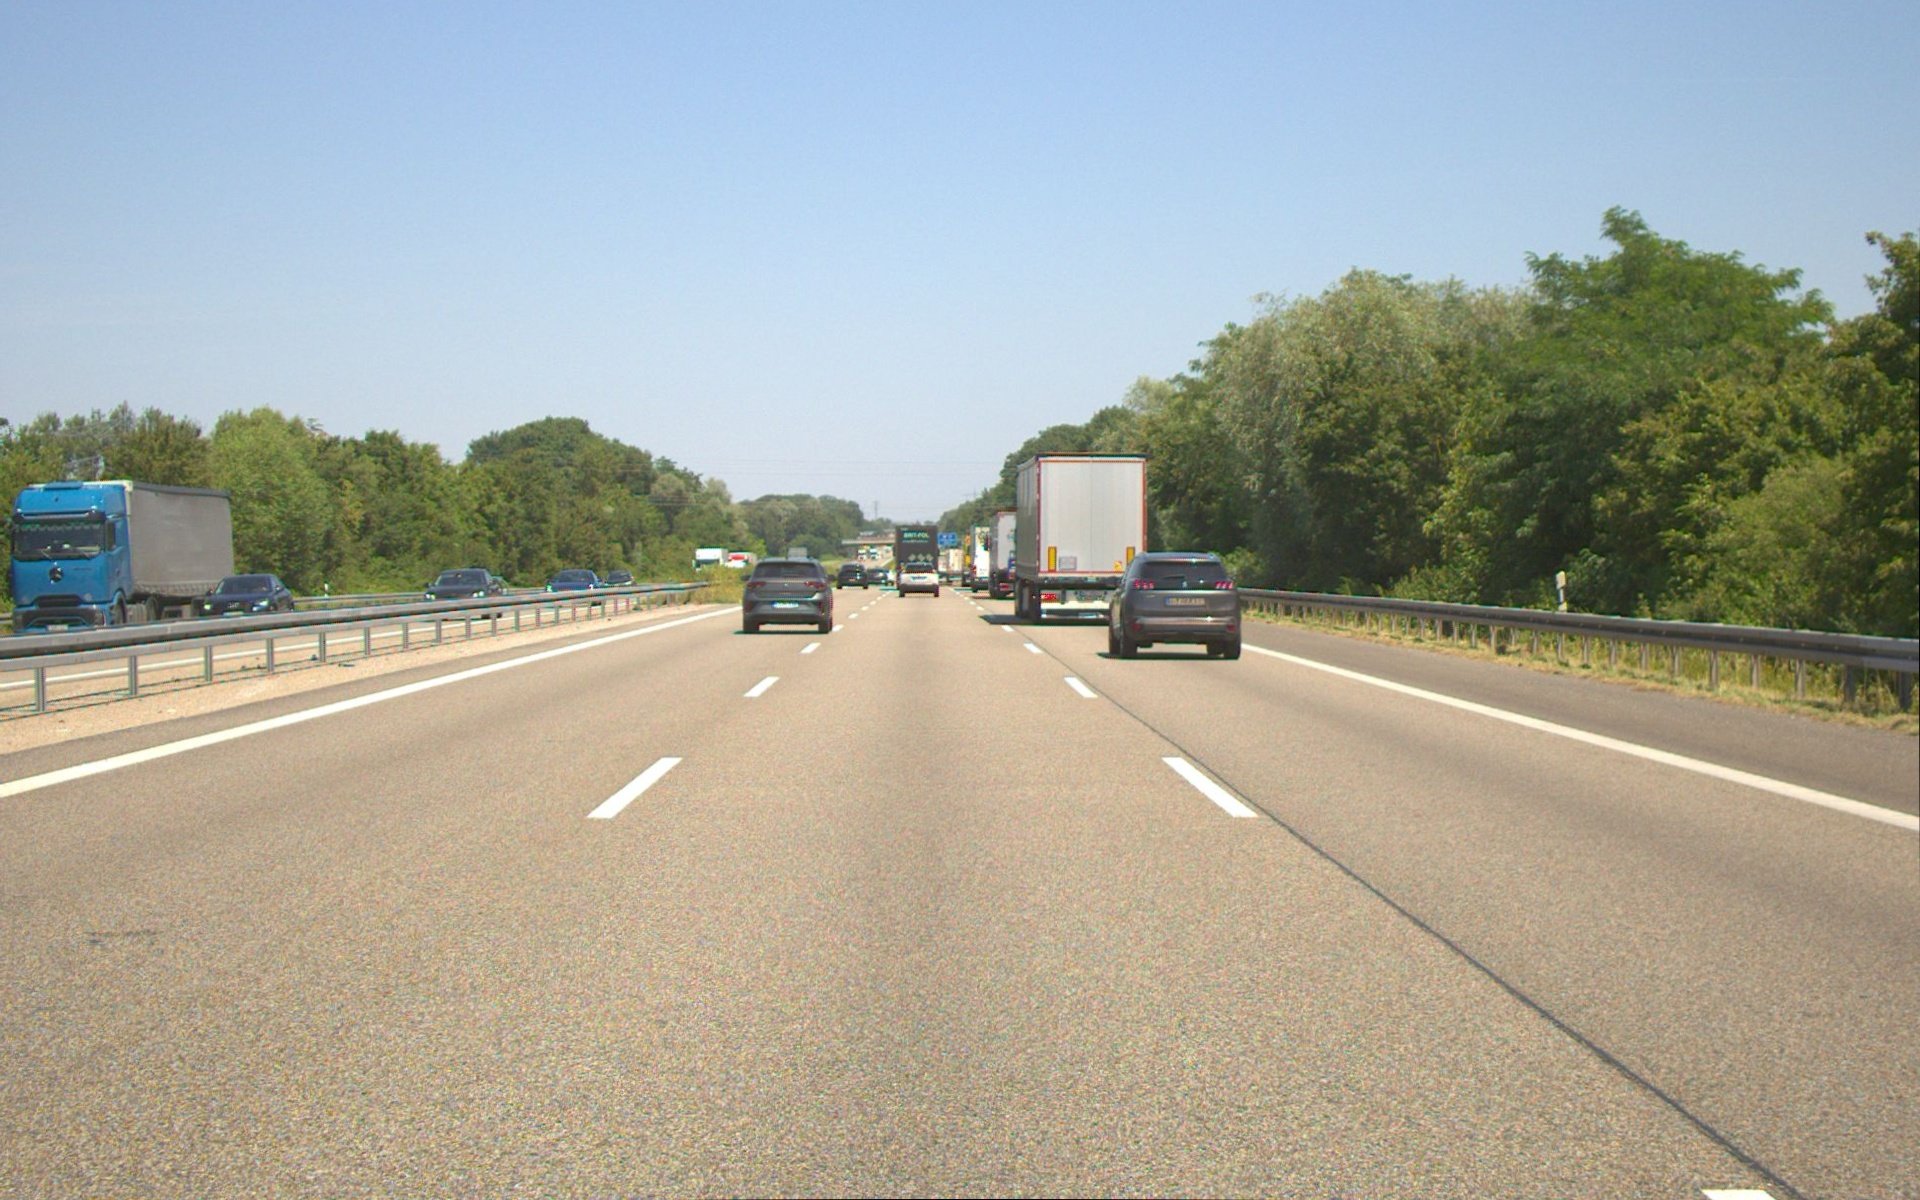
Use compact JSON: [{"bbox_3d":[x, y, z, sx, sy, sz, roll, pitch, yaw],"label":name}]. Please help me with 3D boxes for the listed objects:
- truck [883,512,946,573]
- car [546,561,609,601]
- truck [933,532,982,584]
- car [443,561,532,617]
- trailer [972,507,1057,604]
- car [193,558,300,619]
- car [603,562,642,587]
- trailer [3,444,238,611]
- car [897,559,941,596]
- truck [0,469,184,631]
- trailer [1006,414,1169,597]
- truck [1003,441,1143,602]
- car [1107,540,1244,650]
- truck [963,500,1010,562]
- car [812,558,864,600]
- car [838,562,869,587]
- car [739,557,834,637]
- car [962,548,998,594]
[{"bbox_3d":[-2.790,-3.602,213.598,3.667,3.713,7.108,1,1,1],"label":"truck"},{"bbox_3d":[-14.328,-0.734,128.952,1.850,1.390,4.743,-3,1,-1],"label":"car"},{"bbox_3d":[-0.168,-3.187,258.542,3.489,3.713,7.108,1,1,1],"label":"truck"},{"bbox_3d":[-13.389,-0.332,97.729,1.850,1.458,5.170,-3,1,-1],"label":"car"},{"bbox_3d":[2.250,-1.941,145.940,3.122,3.913,9.937,1,1,-1],"label":"trailer"},{"bbox_3d":[-18.280,-0.308,88.239,1.850,1.458,4.314,3,1,-1],"label":"car"},{"bbox_3d":[-20.019,-1.517,204.036,1.862,1.396,4.532,-2,1,-1],"label":"car"},{"bbox_3d":[-22.786,-2.020,94.243,3.297,4.172,13.543,-1,1,-1],"label":"trailer"},{"bbox_3d":[-1.831,-1.005,153.797,1.900,1.525,4.084,1,1,0],"label":"car"},{"bbox_3d":[-22.587,-1.328,88.631,3.251,3.972,8.728,0,1,-1],"label":"truck"},{"bbox_3d":[3.027,-2.244,85.884,3.434,4.167,13.633,1,1,0],"label":"trailer"},{"bbox_3d":[2.999,-2.046,93.376,3.464,4.163,6.844,1,0,0],"label":"truck"},{"bbox_3d":[3.308,-0.113,53.333,1.845,1.623,4.135,0,1,0],"label":"car"},{"bbox_3d":[1.629,-4.246,212.027,2.792,3.713,7.108,1,1,1],"label":"truck"},{"bbox_3d":[-4.782,-0.822,134.873,1.900,1.525,4.084,1,1,0],"label":"car"},{"bbox_3d":[-6.865,-1.661,222.075,1.907,1.525,4.286,1,1,0],"label":"car"},{"bbox_3d":[-3.549,-0.089,71.082,1.759,1.525,4.286,1,1,0],"label":"car"},{"bbox_3d":[1.077,-1.588,187.150,1.907,2.417,4.286,1,1,0],"label":"car"}]
